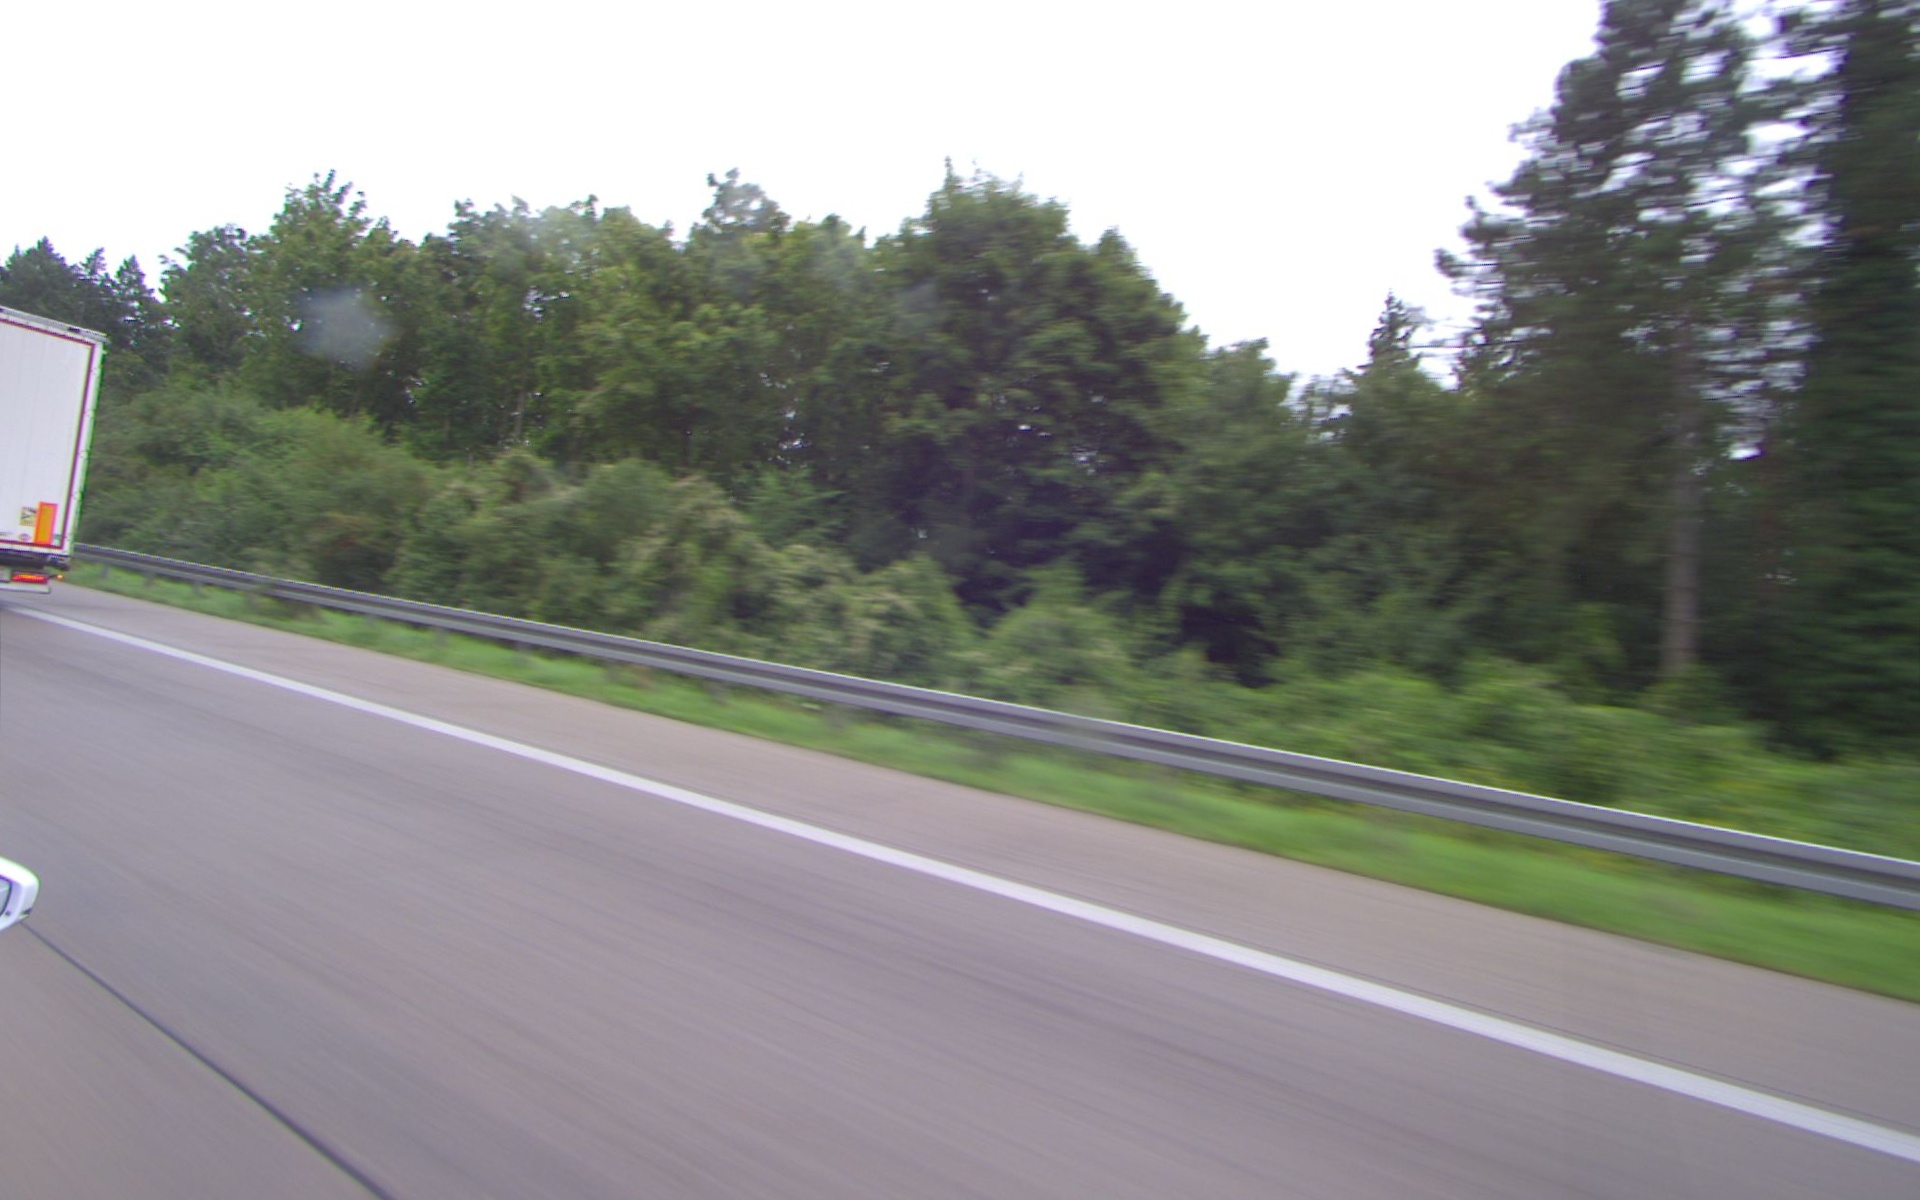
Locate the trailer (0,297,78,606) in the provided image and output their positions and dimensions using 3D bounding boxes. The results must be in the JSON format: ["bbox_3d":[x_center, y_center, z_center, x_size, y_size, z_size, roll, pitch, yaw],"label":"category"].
[{"bbox_3d":[-18.498,-2.669,16.047,11.846,4.117,2.425,7,0,29],"label":"trailer"}]
